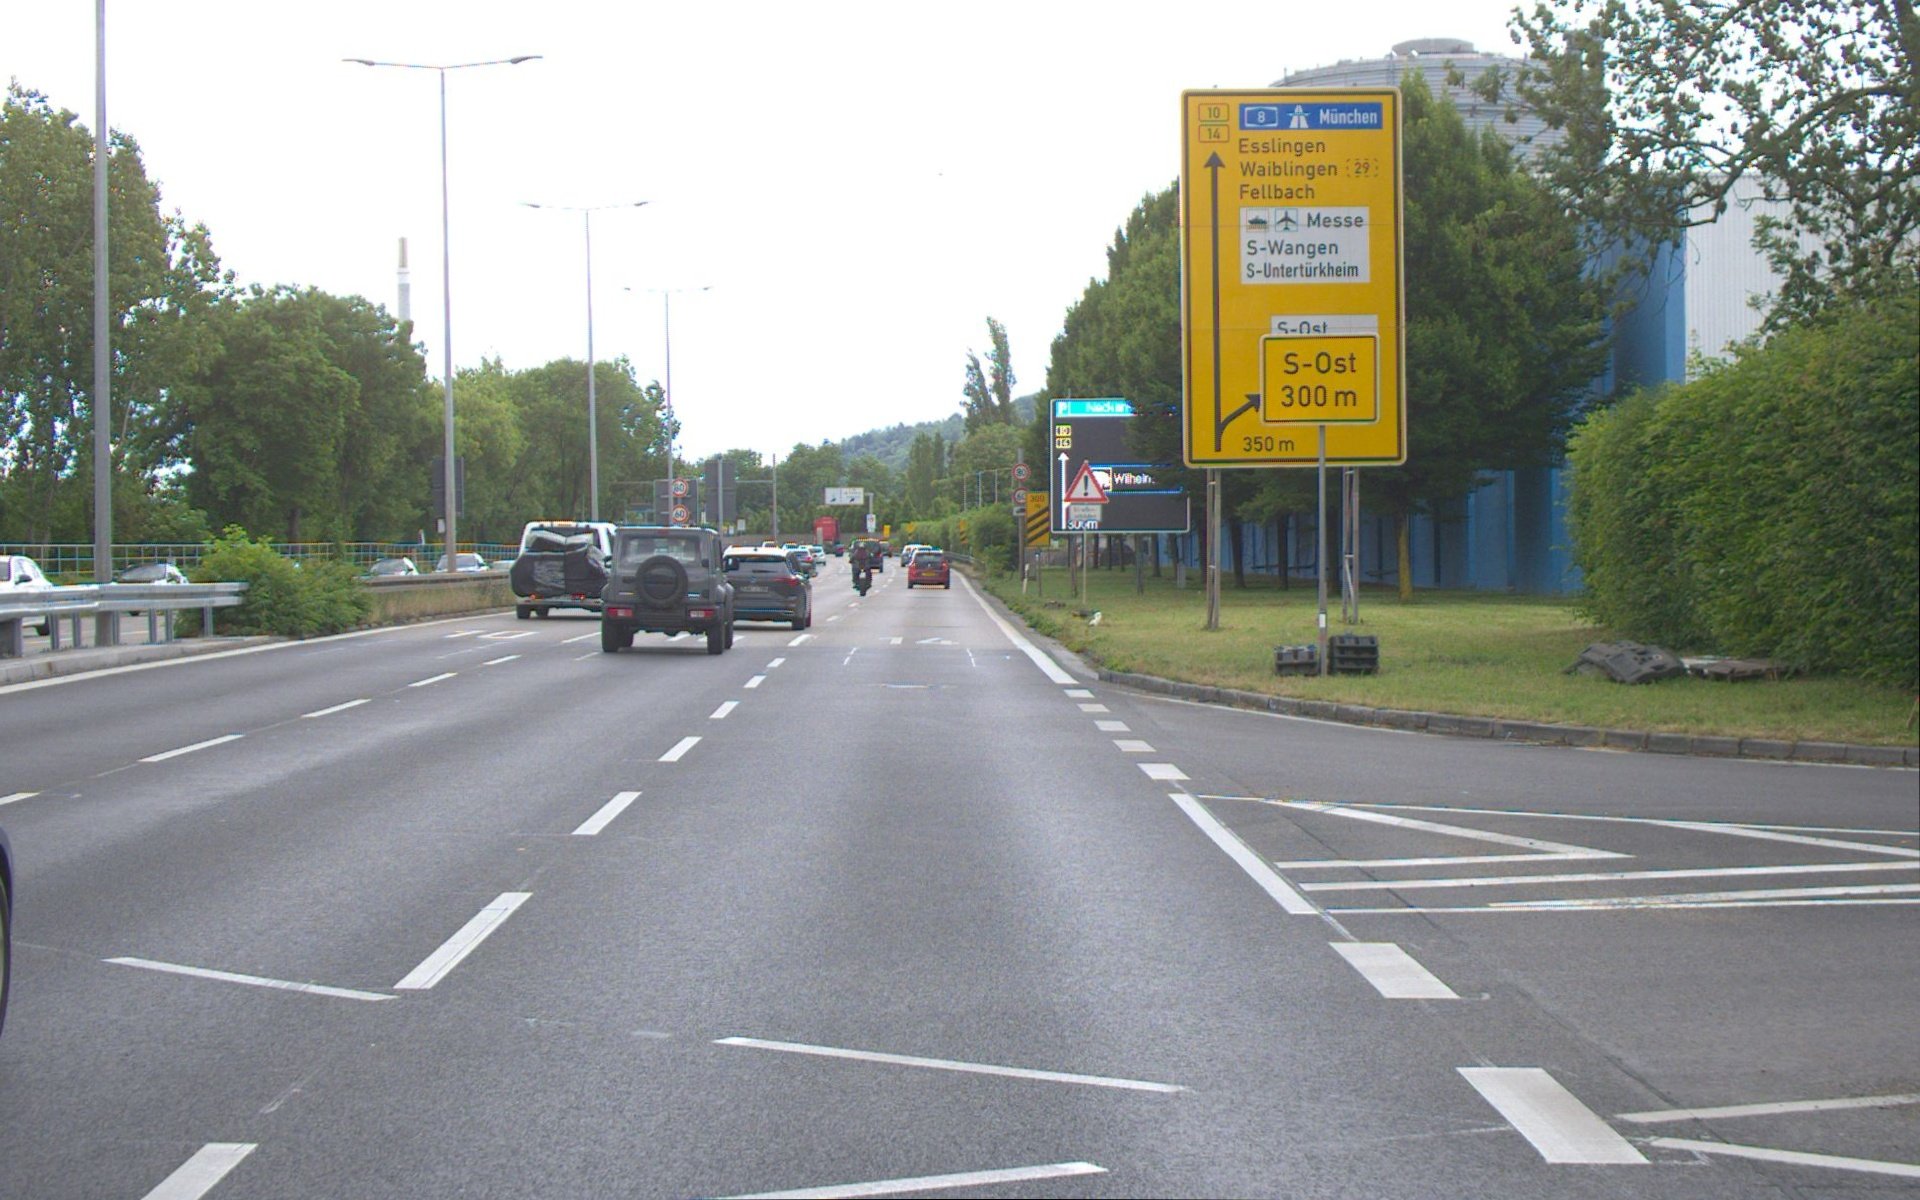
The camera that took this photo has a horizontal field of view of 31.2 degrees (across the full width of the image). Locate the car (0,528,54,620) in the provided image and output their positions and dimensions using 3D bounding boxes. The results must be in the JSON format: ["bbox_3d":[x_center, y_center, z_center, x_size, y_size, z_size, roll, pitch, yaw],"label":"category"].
[{"bbox_3d":[-17.436,-0.476,59.992,1.993,1.488,4.805,2,2,-1],"label":"car"}]

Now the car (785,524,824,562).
[{"bbox_3d":[-8.655,-3.182,191.807,1.993,2.006,4.001,2,2,-1],"label":"car"}]

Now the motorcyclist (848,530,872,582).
[{"bbox_3d":[-3.120,-1.378,107.356,0.685,1.604,0.845,2,2,1],"label":"motorcyclist"}]

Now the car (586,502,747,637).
[{"bbox_3d":[-3.967,-0.454,47.021,1.907,1.678,4.001,2,2,-1],"label":"car"}]

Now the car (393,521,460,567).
[{"bbox_3d":[-20.814,-2.205,134.269,1.993,1.634,4.001,2,2,-1],"label":"car"}]

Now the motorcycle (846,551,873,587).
[{"bbox_3d":[-3.137,-0.980,107.329,0.706,1.036,2.027,2,2,1],"label":"motorcycle"}]

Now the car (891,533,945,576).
[{"bbox_3d":[-1.681,-1.826,136.292,1.993,1.546,4.001,2,2,-2],"label":"car"}]

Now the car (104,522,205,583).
[{"bbox_3d":[-23.373,-1.407,99.908,1.993,1.634,4.001,2,2,-1],"label":"car"}]

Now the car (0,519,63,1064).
[{"bbox_3d":[-3.500,0.567,8.229,1.710,1.524,4.001,2,2,-1],"label":"car"}]

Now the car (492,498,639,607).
[{"bbox_3d":[-7.542,-0.955,66.173,2.214,1.919,5.003,2,2,0],"label":"car"}]

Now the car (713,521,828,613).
[{"bbox_3d":[-3.314,-0.608,60.658,1.840,1.459,4.001,2,2,-1],"label":"car"}]

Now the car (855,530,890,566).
[{"bbox_3d":[-5.191,-3.099,204.571,1.993,2.006,4.001,2,2,-1],"label":"car"}]
